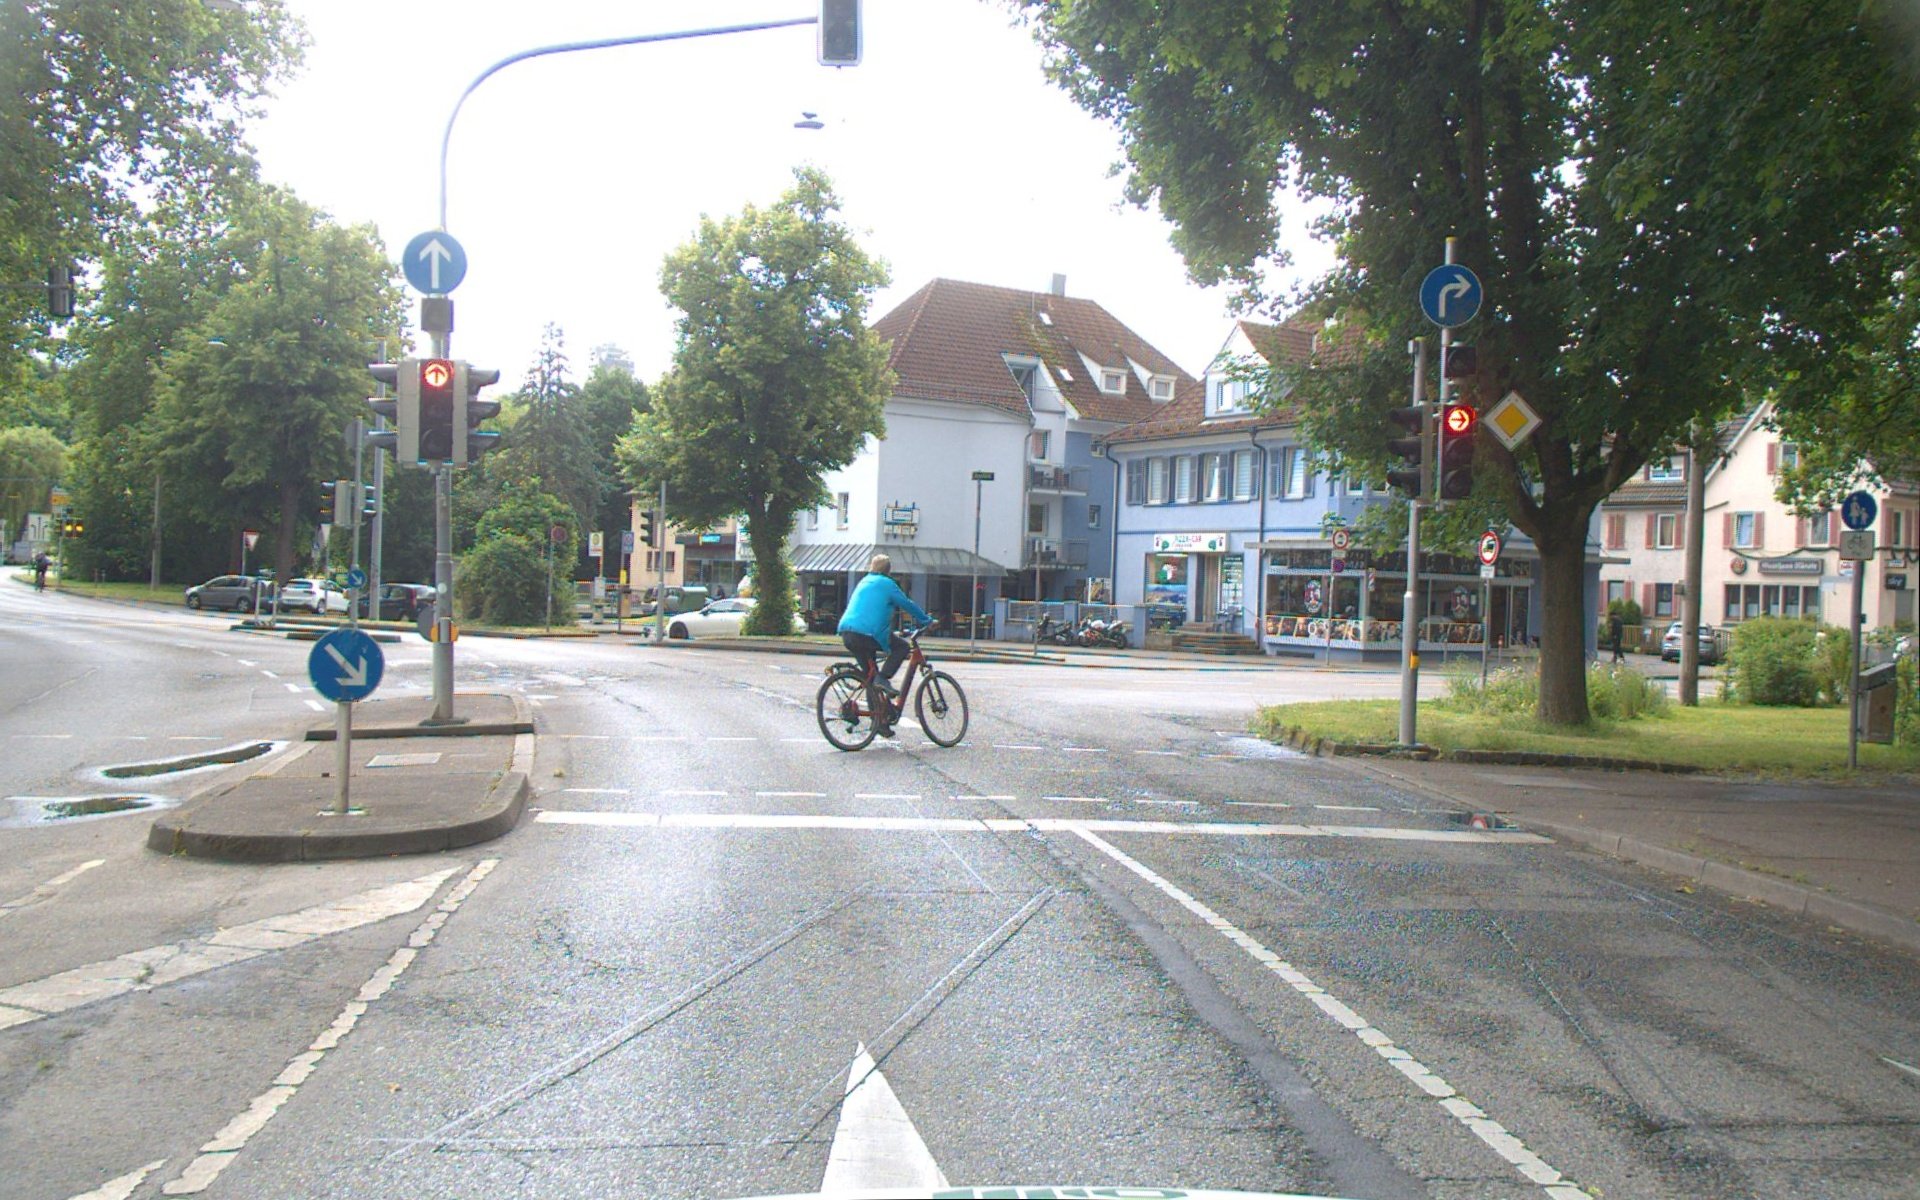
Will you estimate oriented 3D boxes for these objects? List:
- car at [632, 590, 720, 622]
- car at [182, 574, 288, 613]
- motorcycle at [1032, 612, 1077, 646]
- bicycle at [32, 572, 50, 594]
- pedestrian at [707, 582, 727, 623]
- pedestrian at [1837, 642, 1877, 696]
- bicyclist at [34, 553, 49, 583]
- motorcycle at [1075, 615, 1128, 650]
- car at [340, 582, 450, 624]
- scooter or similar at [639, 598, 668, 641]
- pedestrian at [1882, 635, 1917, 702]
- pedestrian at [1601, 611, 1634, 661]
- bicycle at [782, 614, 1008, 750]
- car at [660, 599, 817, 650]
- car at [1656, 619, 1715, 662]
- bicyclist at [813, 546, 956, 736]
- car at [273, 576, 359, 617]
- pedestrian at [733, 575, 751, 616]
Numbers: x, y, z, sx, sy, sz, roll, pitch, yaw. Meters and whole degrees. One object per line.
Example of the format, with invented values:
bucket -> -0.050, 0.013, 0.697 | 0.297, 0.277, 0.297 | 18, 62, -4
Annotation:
car -> -13.783, 0.296, 80.282 | 3.886, 1.467, 1.740 | 1, 0, -24
car -> -29.417, -0.246, 67.157 | 3.694, 1.491, 1.622 | 1, 0, 14
motorcycle -> 3.195, 0.992, 56.111 | 1.428, 1.107, 0.523 | 1, 0, 31
bicycle -> -42.518, -0.796, 76.520 | 0.551, 0.975, 2.008 | 1, 0, -34
pedestrian -> -12.553, 0.120, 85.448 | 0.824, 2.049, 1.050 | 1, 0, -19
pedestrian -> 18.657, 1.433, 34.404 | 0.497, 1.100, 0.513 | 1, -1, -19
bicyclist -> -42.467, -1.488, 76.472 | 0.535, 1.365, 0.706 | 1, 0, -34
motorcycle -> 4.657, 1.054, 54.457 | 1.594, 1.107, 0.626 | 1, 0, 28
car -> -19.692, 0.109, 57.635 | 3.250, 1.376, 1.780 | 1, 0, 23
scooter or similar -> -8.811, 0.556, 47.593 | 0.433, 1.195, 1.438 | 1, 0, 5
pedestrian -> 22.646, 1.640, 39.865 | 0.680, 1.587, 0.666 | 1, -1, 27
pedestrian -> 21.223, 1.163, 53.379 | 0.660, 1.587, 0.742 | 1, -1, -19
bicycle -> -0.594, 0.738, 15.355 | 1.929, 1.169, 0.866 | 1, 0, -34
car -> -6.848, 0.735, 50.905 | 4.613, 1.435, 1.898 | 1, 0, 31
car -> 25.949, 1.414, 59.116 | 1.847, 1.415, 3.612 | 1, 0, 25
bicyclist -> -0.702, 0.362, 15.280 | 0.976, 1.680, 0.908 | 1, 0, -33
car -> -27.336, -0.152, 70.284 | 1.821, 1.668, 3.757 | 1, 0, 7
pedestrian -> -8.469, -0.186, 64.256 | 0.531, 1.587, 0.468 | 1, -1, 9
